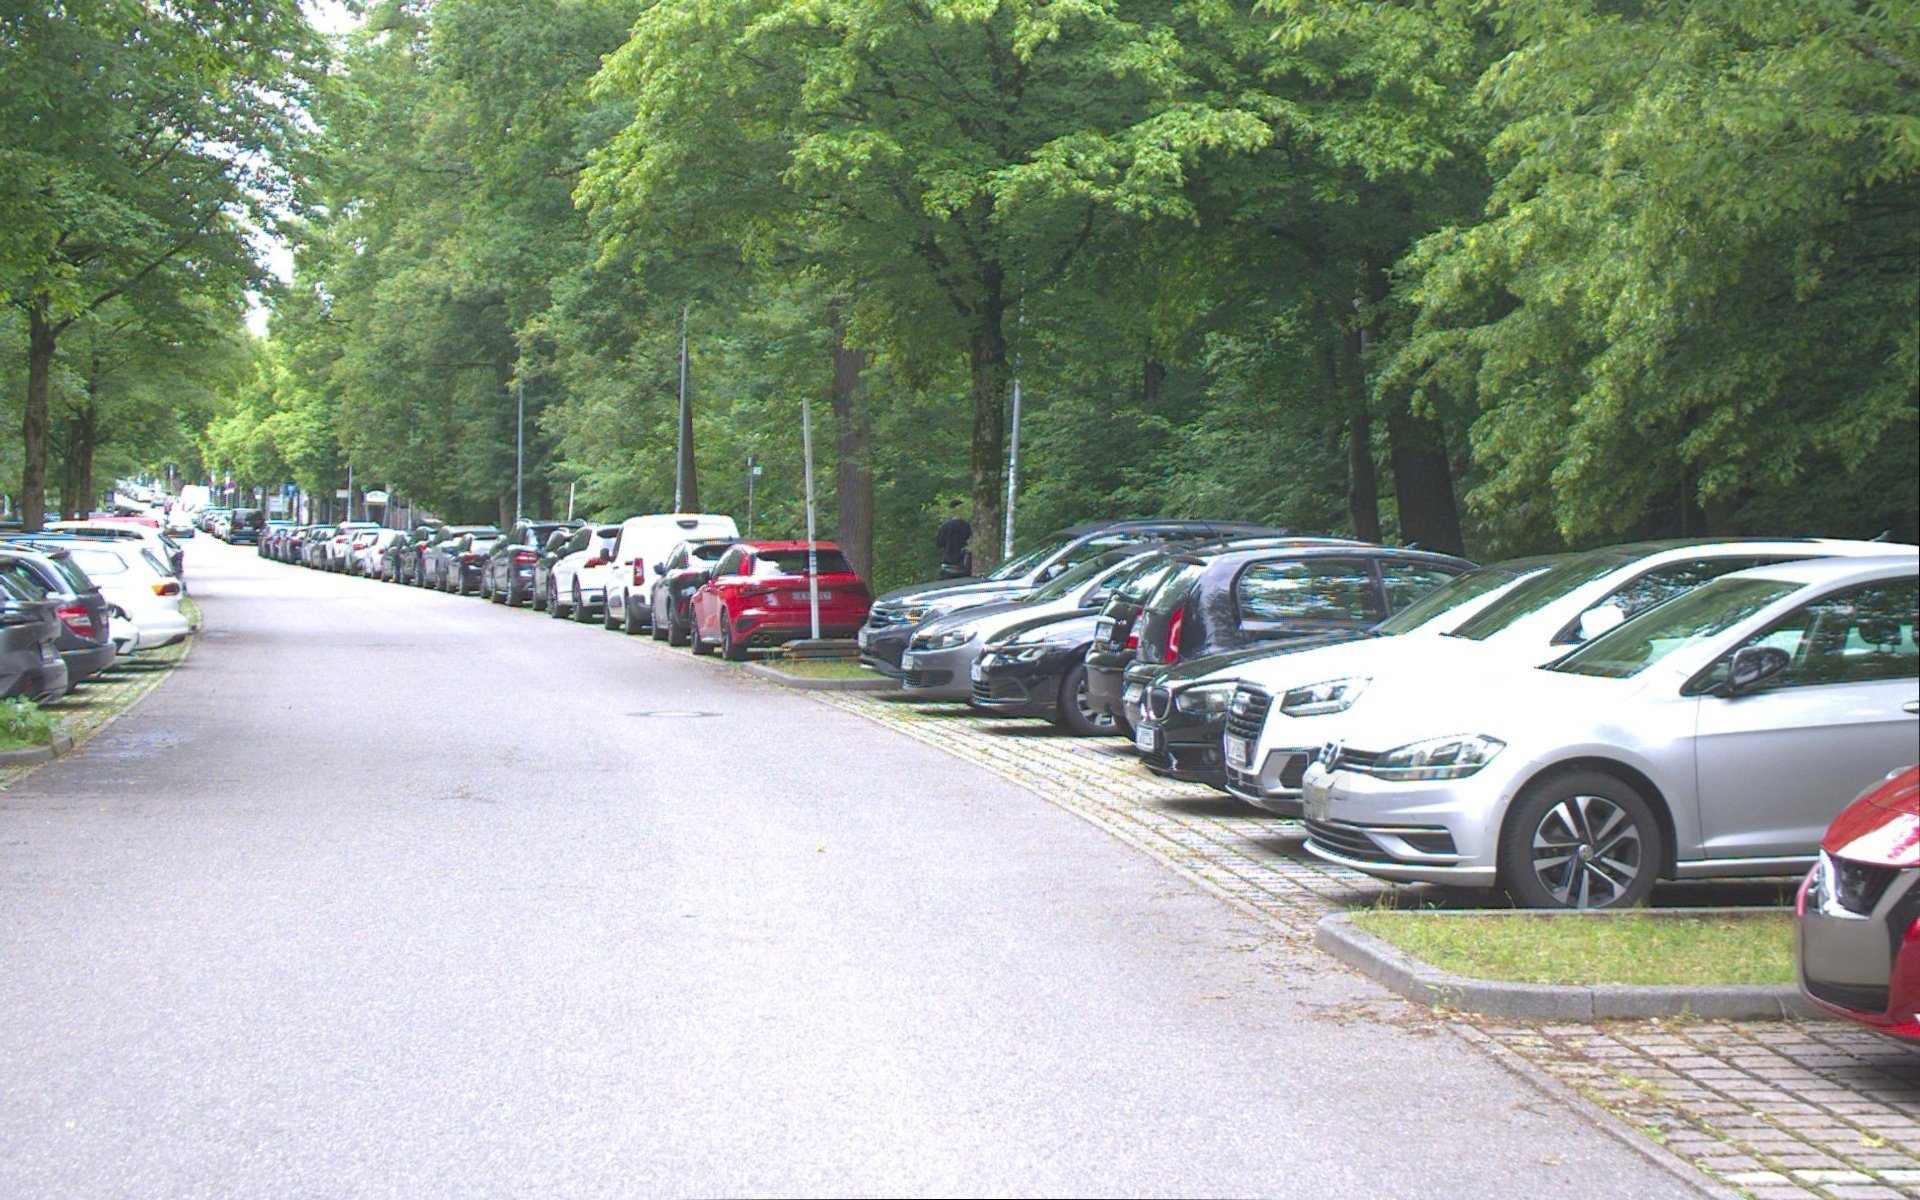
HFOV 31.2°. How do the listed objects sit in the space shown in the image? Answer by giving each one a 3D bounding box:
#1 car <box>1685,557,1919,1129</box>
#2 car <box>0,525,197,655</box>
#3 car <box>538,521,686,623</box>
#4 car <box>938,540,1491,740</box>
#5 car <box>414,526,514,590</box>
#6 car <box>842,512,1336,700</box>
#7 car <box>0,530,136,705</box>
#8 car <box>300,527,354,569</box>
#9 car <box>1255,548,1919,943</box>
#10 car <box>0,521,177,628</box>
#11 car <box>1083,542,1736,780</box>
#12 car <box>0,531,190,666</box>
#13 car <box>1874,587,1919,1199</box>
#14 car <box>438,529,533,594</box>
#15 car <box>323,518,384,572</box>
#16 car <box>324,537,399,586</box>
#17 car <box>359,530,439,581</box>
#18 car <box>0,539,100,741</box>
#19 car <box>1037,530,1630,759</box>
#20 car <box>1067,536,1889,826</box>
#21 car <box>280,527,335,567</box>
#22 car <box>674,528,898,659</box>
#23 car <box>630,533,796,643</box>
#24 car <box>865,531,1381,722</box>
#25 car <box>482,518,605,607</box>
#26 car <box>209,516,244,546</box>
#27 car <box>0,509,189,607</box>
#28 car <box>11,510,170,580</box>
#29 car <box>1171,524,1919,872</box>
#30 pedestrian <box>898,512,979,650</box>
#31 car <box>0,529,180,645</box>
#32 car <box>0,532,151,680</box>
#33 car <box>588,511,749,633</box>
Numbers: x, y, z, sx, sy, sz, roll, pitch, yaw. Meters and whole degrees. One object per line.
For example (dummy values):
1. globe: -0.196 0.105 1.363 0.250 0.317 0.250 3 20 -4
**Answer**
1. car: 4.218 0.639 9.690 3.793 1.436 1.871 0 2 -13
2. car: -11.240 -0.130 40.031 4.561 1.481 1.870 0 1 -11
3. car: -5.987 -0.508 58.735 1.785 1.657 4.719 1 1 -15
4. car: 1.940 0.294 26.996 3.986 1.470 1.953 1 1 -8
5. car: -12.446 -1.060 86.044 1.977 1.532 4.623 1 1 -15
6. car: 1.152 0.042 31.961 4.264 1.660 1.959 1 1 -9
7. car: -9.489 0.125 30.021 4.264 1.481 2.058 0 1 -8
8. car: -23.252 -1.923 126.224 1.710 1.504 4.001 1 1 -14
9. car: 3.411 0.566 14.398 3.975 1.478 1.884 1 2 -9
10. car: -14.154 -0.401 51.982 4.513 1.579 1.927 0 1 -13
11. car: 2.826 0.355 22.107 3.826 1.452 1.809 0 1 -7
12. car: -10.824 -0.039 37.722 4.561 1.442 2.086 0 1 -15
13. car: 4.085 0.729 6.875 3.932 1.406 1.878 1 2 -4
14. car: -11.115 -0.920 80.346 1.636 1.472 4.153 0 1 -16
15. car: -20.173 -1.841 114.189 1.710 1.722 4.001 1 1 -14
16. car: -18.946 -1.237 108.669 1.721 1.489 3.775 0 1 -19
17. car: -16.861 -1.340 103.145 1.936 1.470 3.993 0 1 -15
18. car: -8.650 0.254 25.071 4.404 1.419 2.036 0 1 -7
19. car: 2.591 0.275 24.334 3.826 1.526 1.851 0 1 -8
20. car: 2.853 0.434 19.438 4.186 1.506 1.894 1 2 -9
21. car: -25.296 -2.059 133.158 1.920 1.515 3.888 1 1 -13
22. car: -2.195 -0.119 41.984 1.993 1.474 4.973 1 1 -11
23. car: -3.457 -0.196 47.481 1.725 1.418 4.285 1 1 -11
24. car: 1.359 0.210 29.425 3.986 1.546 1.976 1 1 -14
25. car: -8.527 -0.791 70.039 1.889 1.741 4.950 1 1 -14
26. car: -39.688 -3.751 186.037 1.628 1.410 3.412 1 4 -15
27. car: -15.484 -0.736 59.311 4.223 1.627 2.030 1 1 -12
28. car: -23.036 -1.459 91.048 3.986 1.810 2.116 0 1 -17
29. car: 3.180 0.444 16.924 4.008 1.553 1.978 1 2 -4
30. pedestrian: -0.280 -0.248 43.683 0.817 1.720 1.004 1 1 -12
31. car: -12.778 -0.195 47.154 4.033 1.549 1.920 0 1 -13
32. car: -10.491 0.047 35.030 4.364 1.481 1.892 0 1 -14
33. car: -4.518 -0.455 52.697 1.744 1.774 4.553 1 1 -14
